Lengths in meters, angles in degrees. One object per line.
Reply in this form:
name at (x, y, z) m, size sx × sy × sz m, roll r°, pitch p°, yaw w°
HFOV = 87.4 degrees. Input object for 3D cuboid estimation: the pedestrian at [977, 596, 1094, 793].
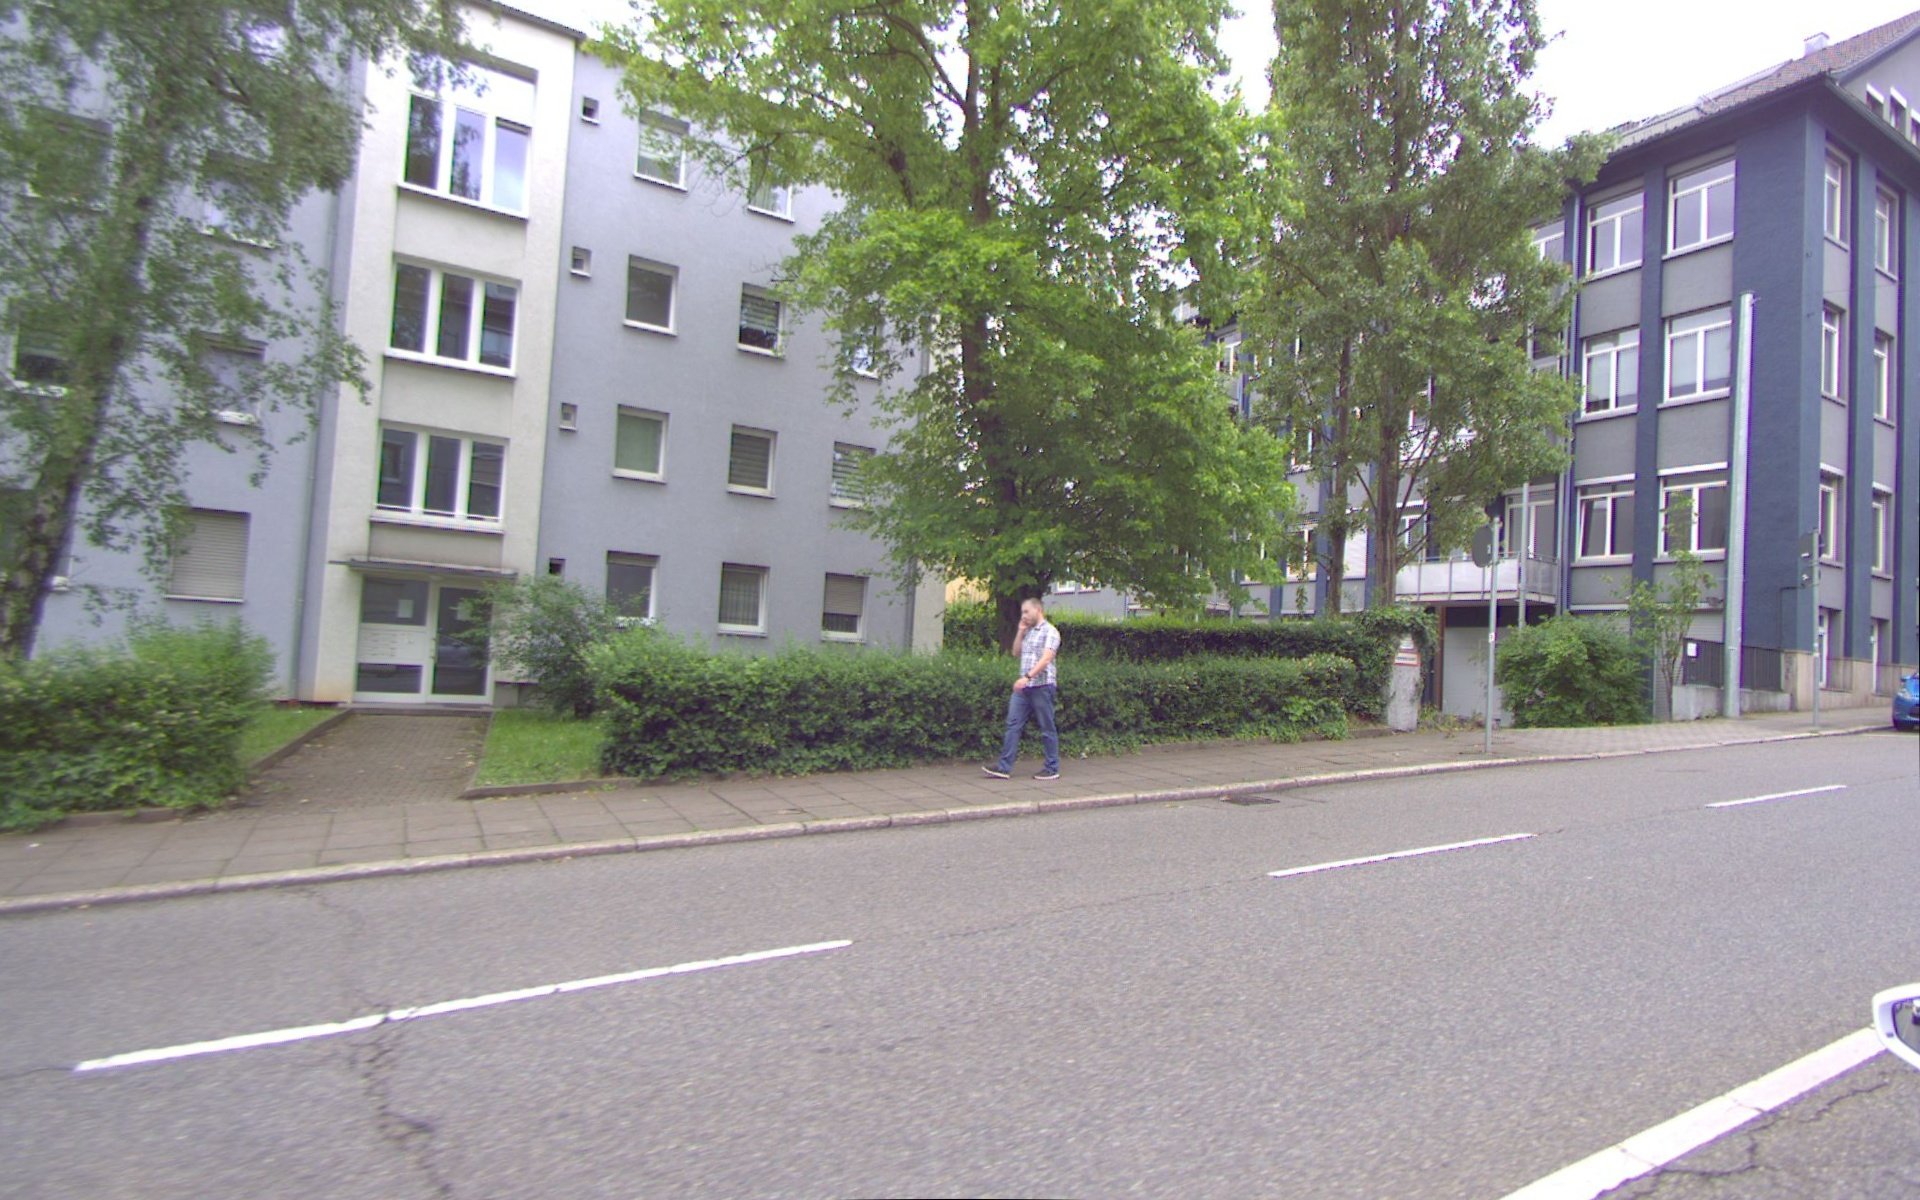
pedestrian at (0.797, 0.963, 10.720) m, size 0.857 × 1.976 × 0.878 m, roll 1°, pitch 1°, yaw -30°

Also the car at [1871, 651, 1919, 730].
car at (19.374, 1.690, 19.239) m, size 3.942 × 1.442 × 1.706 m, roll 1°, pitch -4°, yaw -30°
